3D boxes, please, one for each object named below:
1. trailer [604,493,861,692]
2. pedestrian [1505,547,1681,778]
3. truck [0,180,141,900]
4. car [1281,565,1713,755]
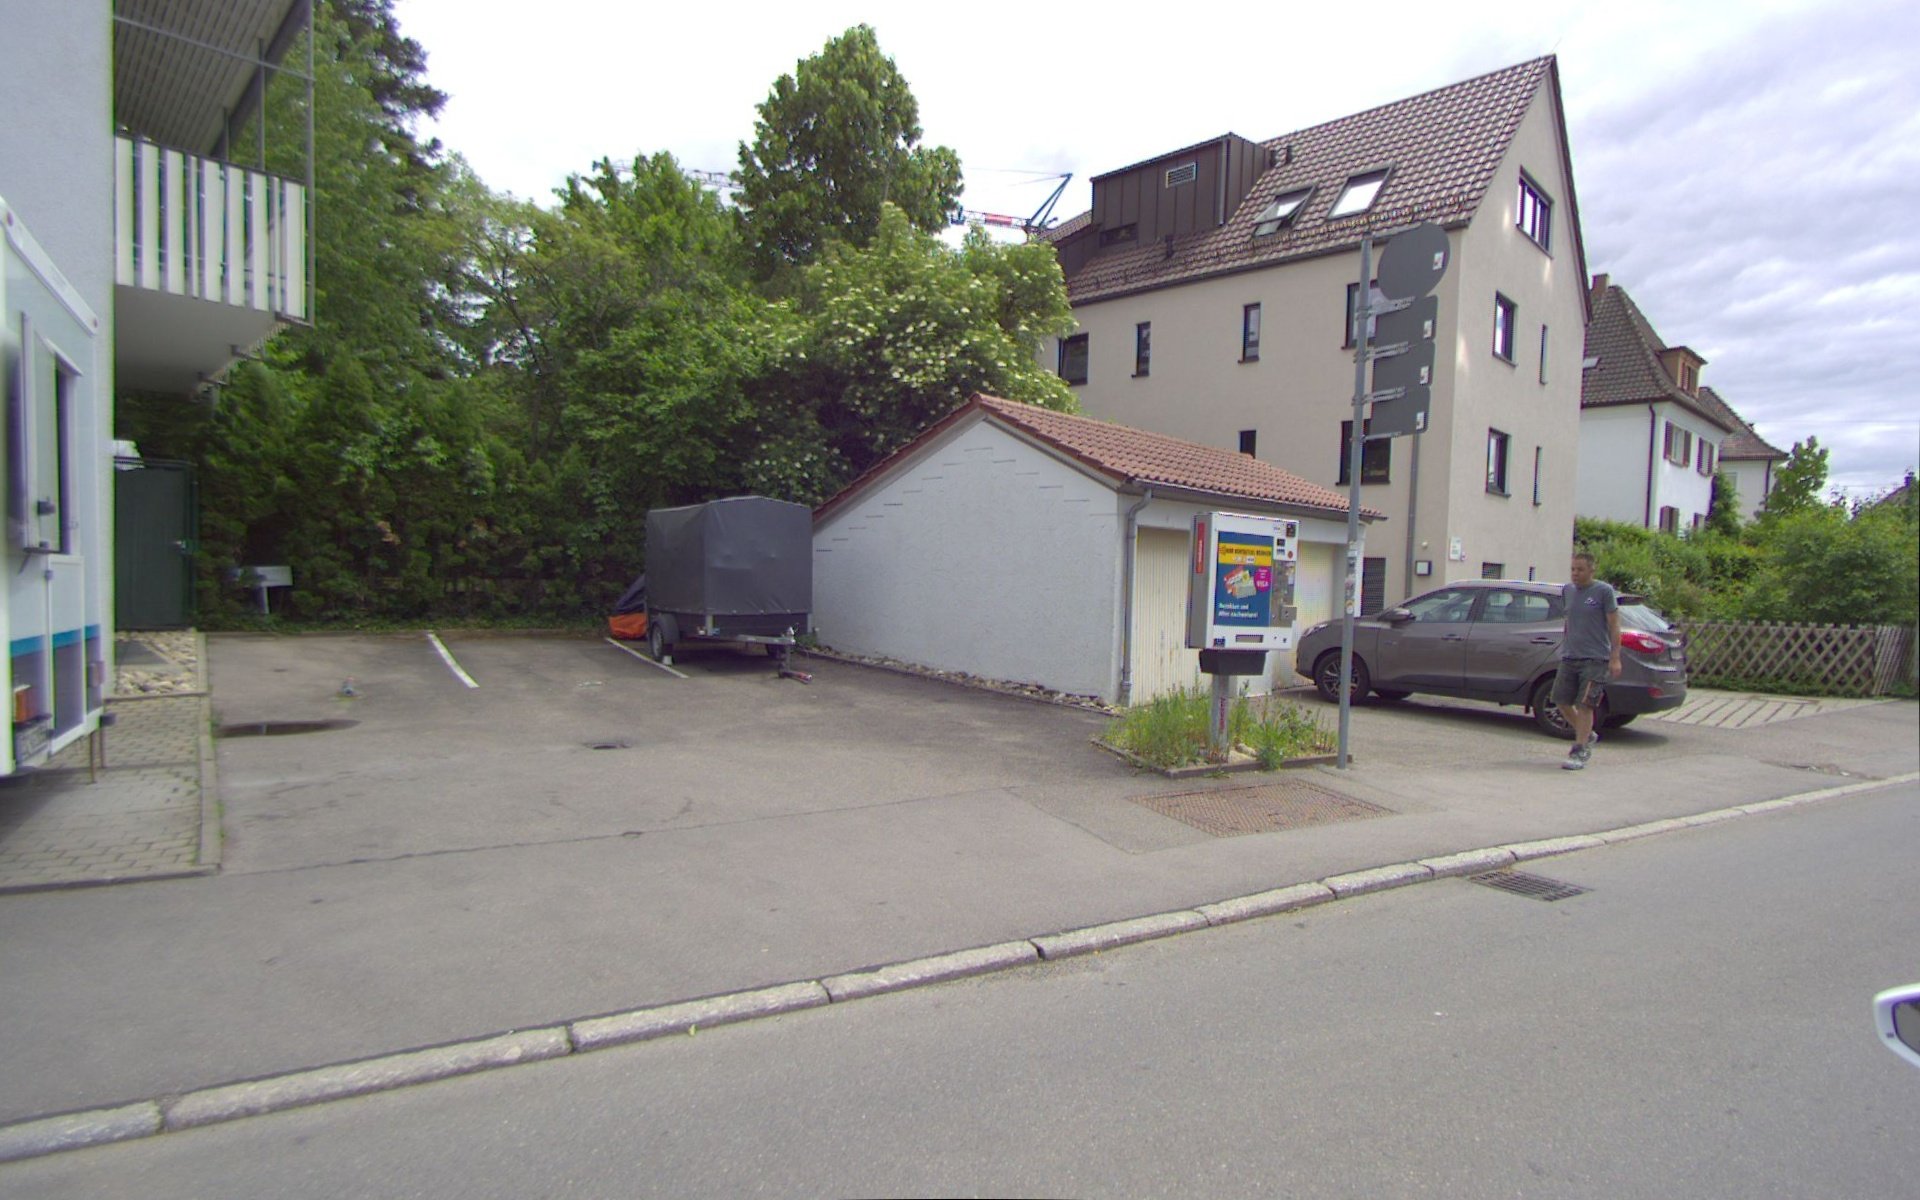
[{"bbox_3d":[-3.183,-0.260,13.141,1.686,2.108,4.831,-1,5,-33],"label":"trailer"},{"bbox_3d":[5.785,0.541,9.194,1.202,1.972,0.730,2,3,-28],"label":"pedestrian"},{"bbox_3d":[-7.154,-0.342,3.289,6.636,2.879,2.458,1,2,-33],"label":"truck"},{"bbox_3d":[6.410,0.564,12.397,1.784,1.718,4.271,1,4,-42],"label":"car"}]
